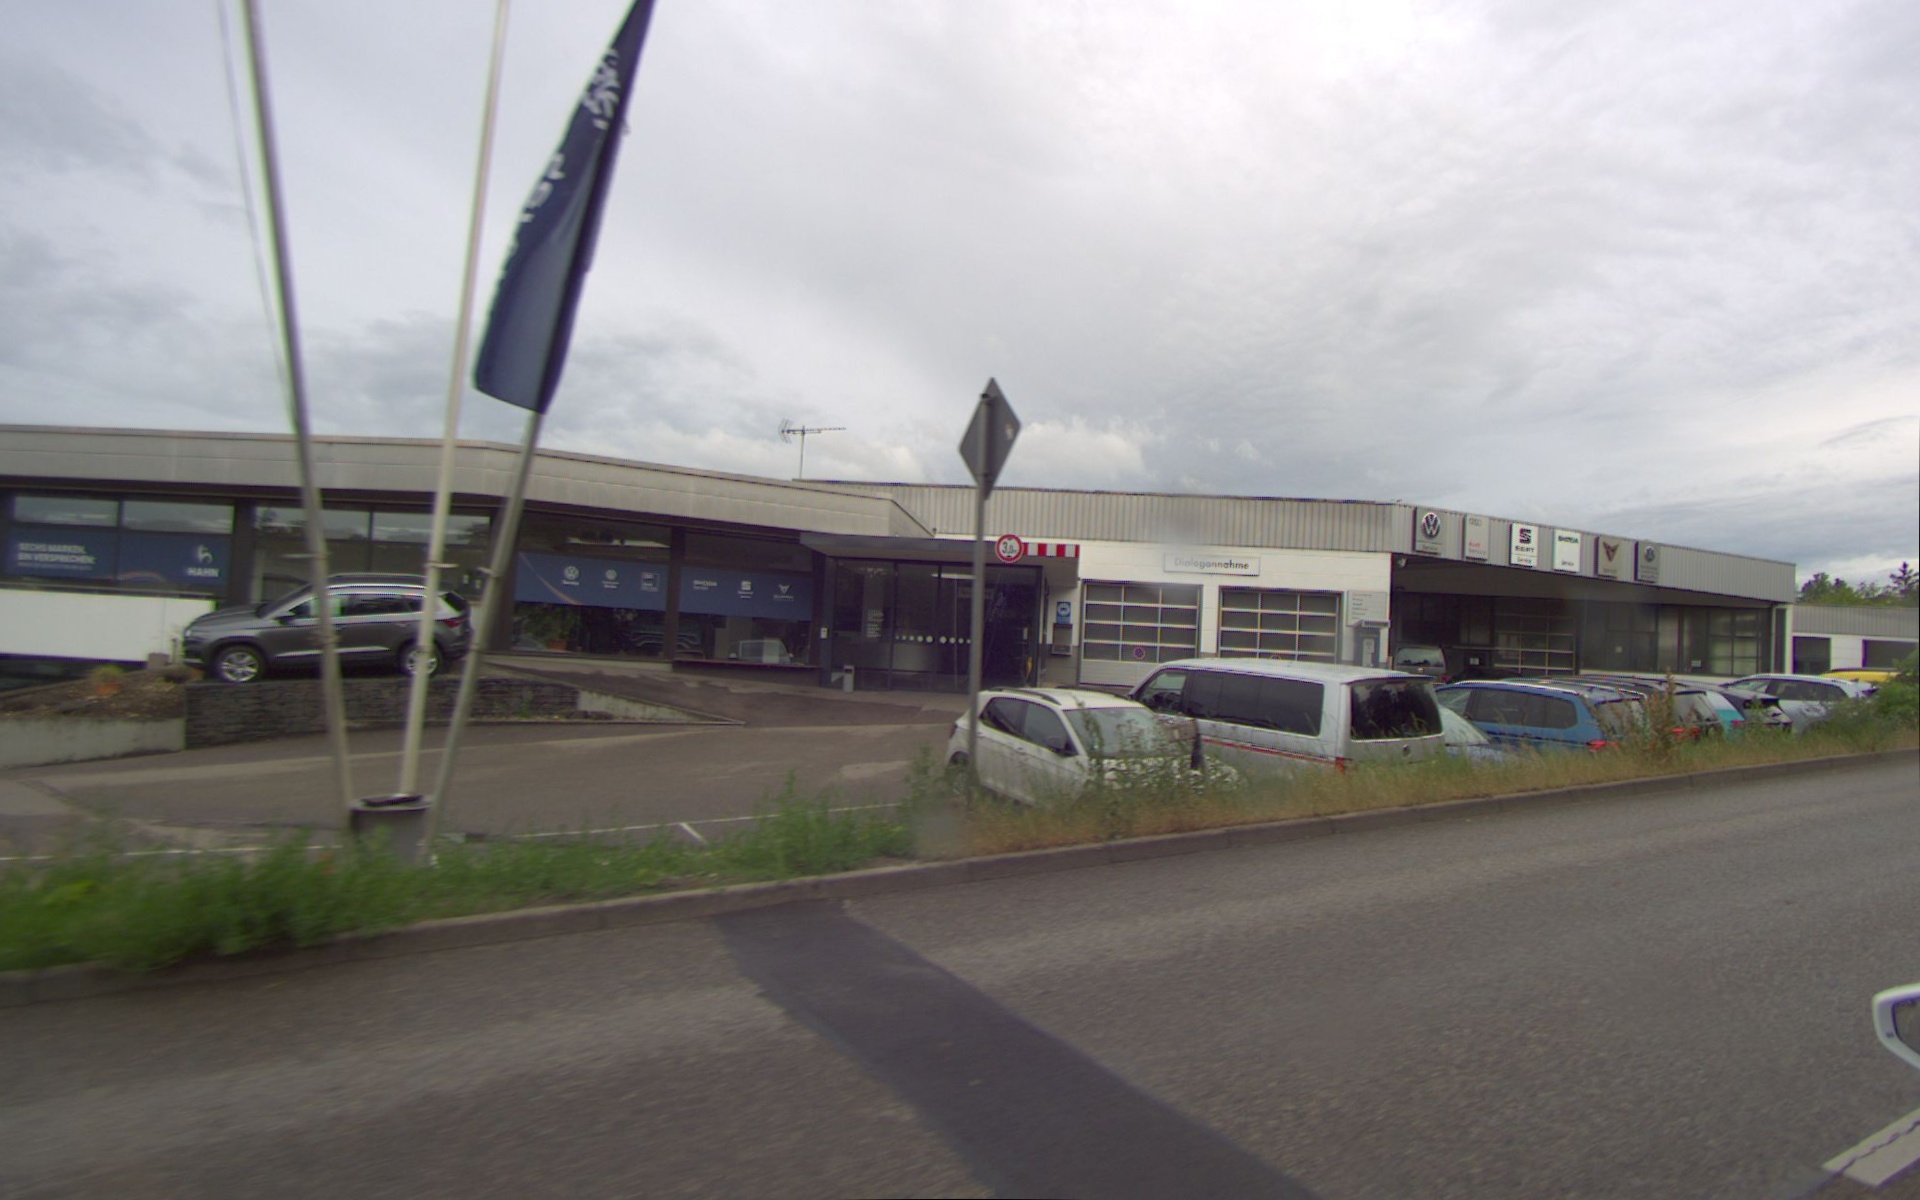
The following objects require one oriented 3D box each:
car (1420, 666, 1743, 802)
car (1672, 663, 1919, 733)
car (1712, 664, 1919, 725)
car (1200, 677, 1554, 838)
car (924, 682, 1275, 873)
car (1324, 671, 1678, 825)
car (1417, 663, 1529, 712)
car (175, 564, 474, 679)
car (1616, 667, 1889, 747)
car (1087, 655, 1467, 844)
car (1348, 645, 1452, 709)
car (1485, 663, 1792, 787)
[{"bbox_3d":[10.147,2.076,16.741,1.854,1.821,4.203,1,-2,-32],"label":"car"},{"bbox_3d":[18.888,2.154,22.832,1.785,1.308,4.040,2,-2,-32],"label":"car"},{"bbox_3d":[20.990,2.229,24.378,1.785,1.227,4.040,2,-2,-32],"label":"car"},{"bbox_3d":[5.702,2.050,14.336,1.979,1.717,4.392,1,-2,-30],"label":"car"},{"bbox_3d":[1.333,1.760,11.159,1.802,1.497,3.990,1,-2,-30],"label":"car"},{"bbox_3d":[8.049,2.075,15.386,1.980,1.821,4.388,2,-2,-32],"label":"car"},{"bbox_3d":[17.057,2.887,33.620,1.914,1.434,4.025,0,-2,5],"label":"car"},{"bbox_3d":[-10.849,0.440,17.513,4.197,1.823,1.394,2,-3,-28],"label":"car"},{"bbox_3d":[16.694,2.178,21.386,1.854,1.386,4.203,2,-2,-32],"label":"car"},{"bbox_3d":[3.674,1.631,12.500,1.912,1.821,4.392,1,-2,-30],"label":"car"},{"bbox_3d":[14.849,2.619,34.198,1.948,1.985,4.490,1,-4,6],"label":"car"},{"bbox_3d":[12.017,2.107,18.076,1.854,1.821,4.203,1,-2,-32],"label":"car"}]
